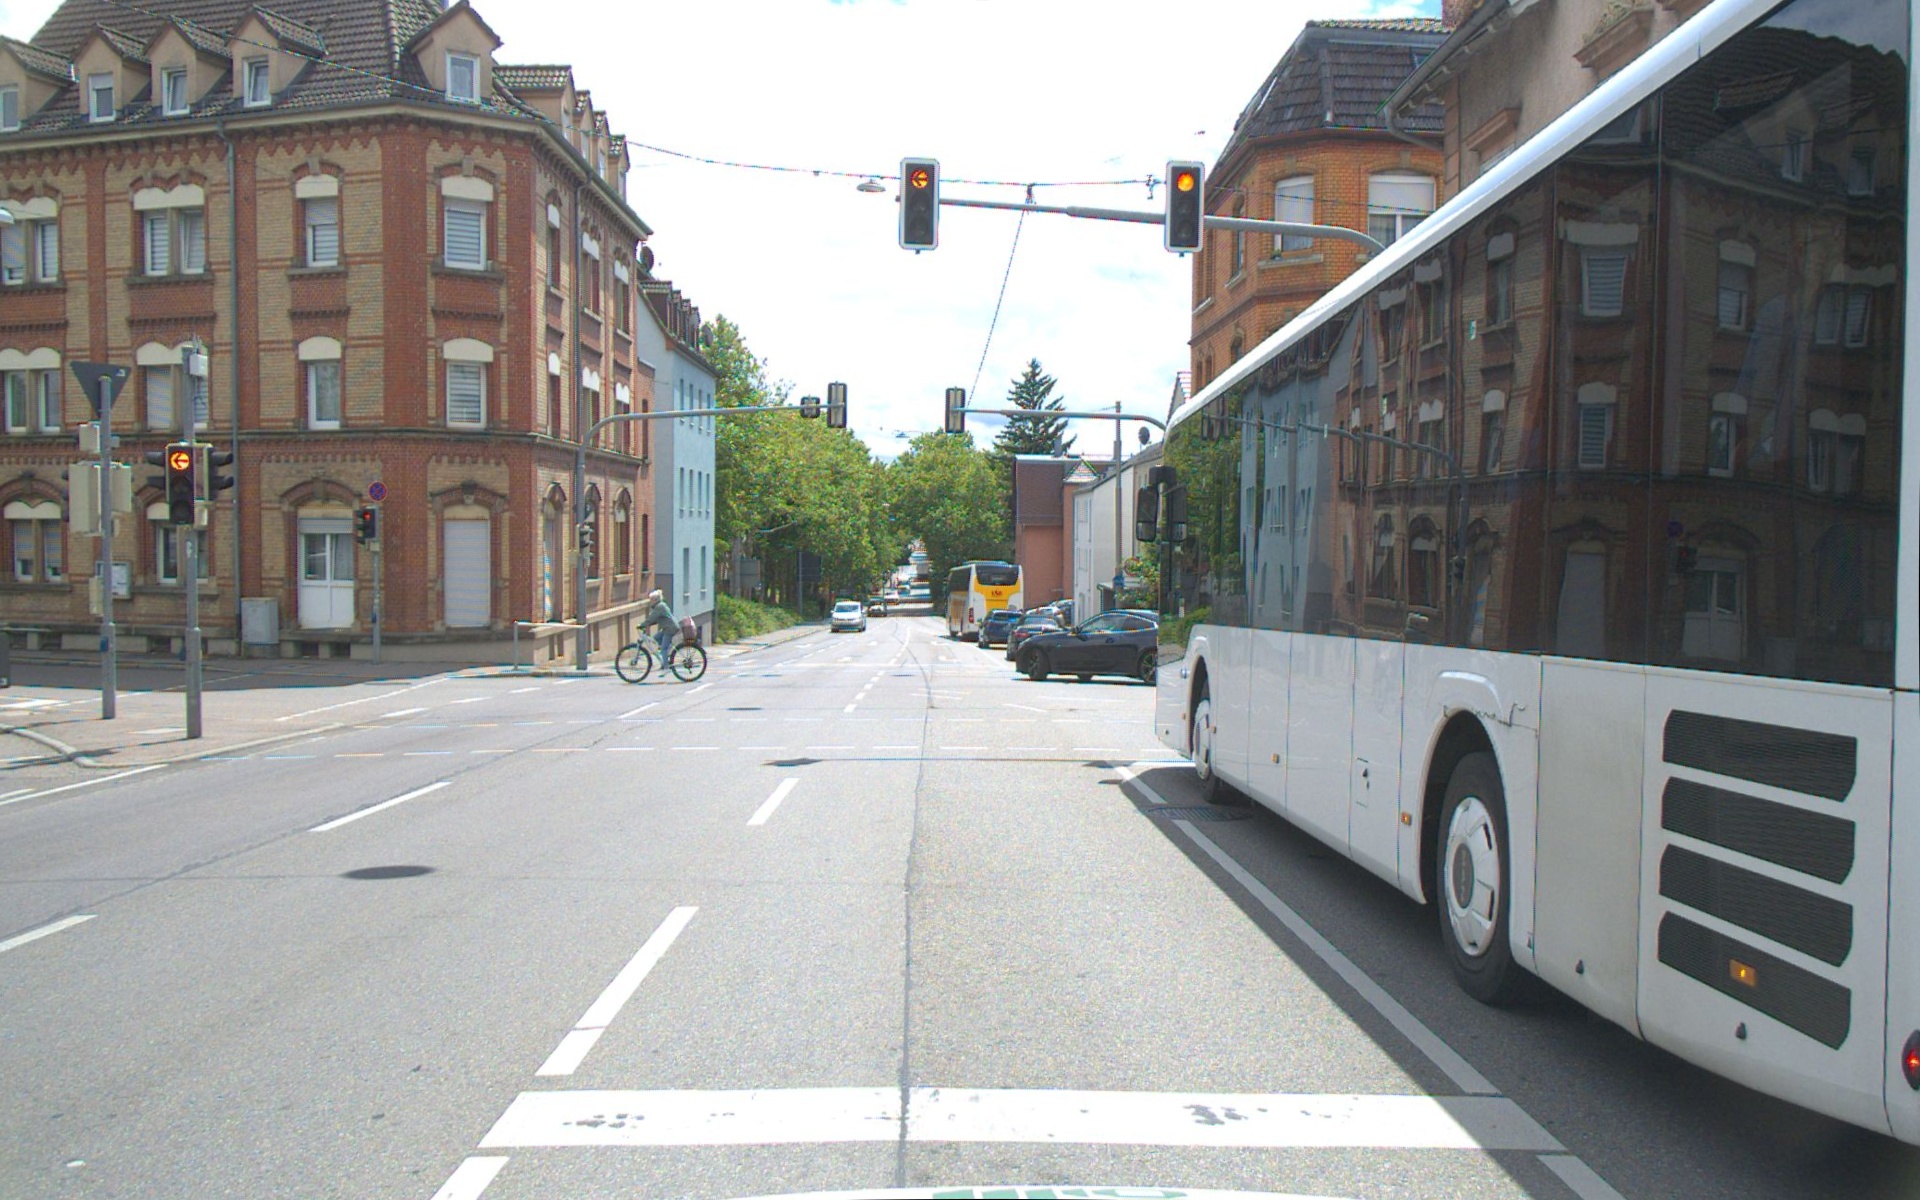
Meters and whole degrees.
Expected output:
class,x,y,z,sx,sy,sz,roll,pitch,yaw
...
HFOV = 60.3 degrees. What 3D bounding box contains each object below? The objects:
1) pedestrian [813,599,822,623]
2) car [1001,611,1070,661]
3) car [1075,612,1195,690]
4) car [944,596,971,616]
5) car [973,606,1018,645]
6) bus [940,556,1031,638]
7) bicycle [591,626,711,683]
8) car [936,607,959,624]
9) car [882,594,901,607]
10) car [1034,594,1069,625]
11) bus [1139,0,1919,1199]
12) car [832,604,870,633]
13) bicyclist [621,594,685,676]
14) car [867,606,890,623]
class,x,y,z,sx,sy,sz,roll,pitch,yaw
pedestrian,-10.629,0.788,123.636,0.594,1.789,0.653,0,0,-2
car,2.252,1.073,50.583,1.827,1.391,4.546,0,0,-1
car,3.213,0.910,31.079,1.761,1.298,3.999,-1,0,-1
car,-0.188,0.492,129.371,1.843,1.518,3.997,-1,0,-4
car,1.352,0.947,63.435,1.576,1.400,3.999,0,0,-1
bus,1.077,-0.152,79.949,3.236,3.694,11.232,-1,0,-5
bicycle,-5.851,1.030,31.377,2.138,1.037,0.606,0,0,7
car,-1.126,1.356,146.365,1.843,1.518,3.997,0,0,-4
car,-8.521,0.066,205.939,2.162,1.641,4.546,0,0,-1
car,5.141,0.538,93.373,1.731,1.695,3.999,0,0,-1
bus,3.216,-0.159,9.301,2.845,3.571,12.484,1,0,-1
car,-6.252,1.039,95.228,1.896,1.591,4.388,0,0,-1
bicyclist,-5.818,0.657,31.374,1.048,1.526,0.590,0,0,7
car,-7.128,1.270,145.065,1.827,1.391,4.546,0,0,-1
